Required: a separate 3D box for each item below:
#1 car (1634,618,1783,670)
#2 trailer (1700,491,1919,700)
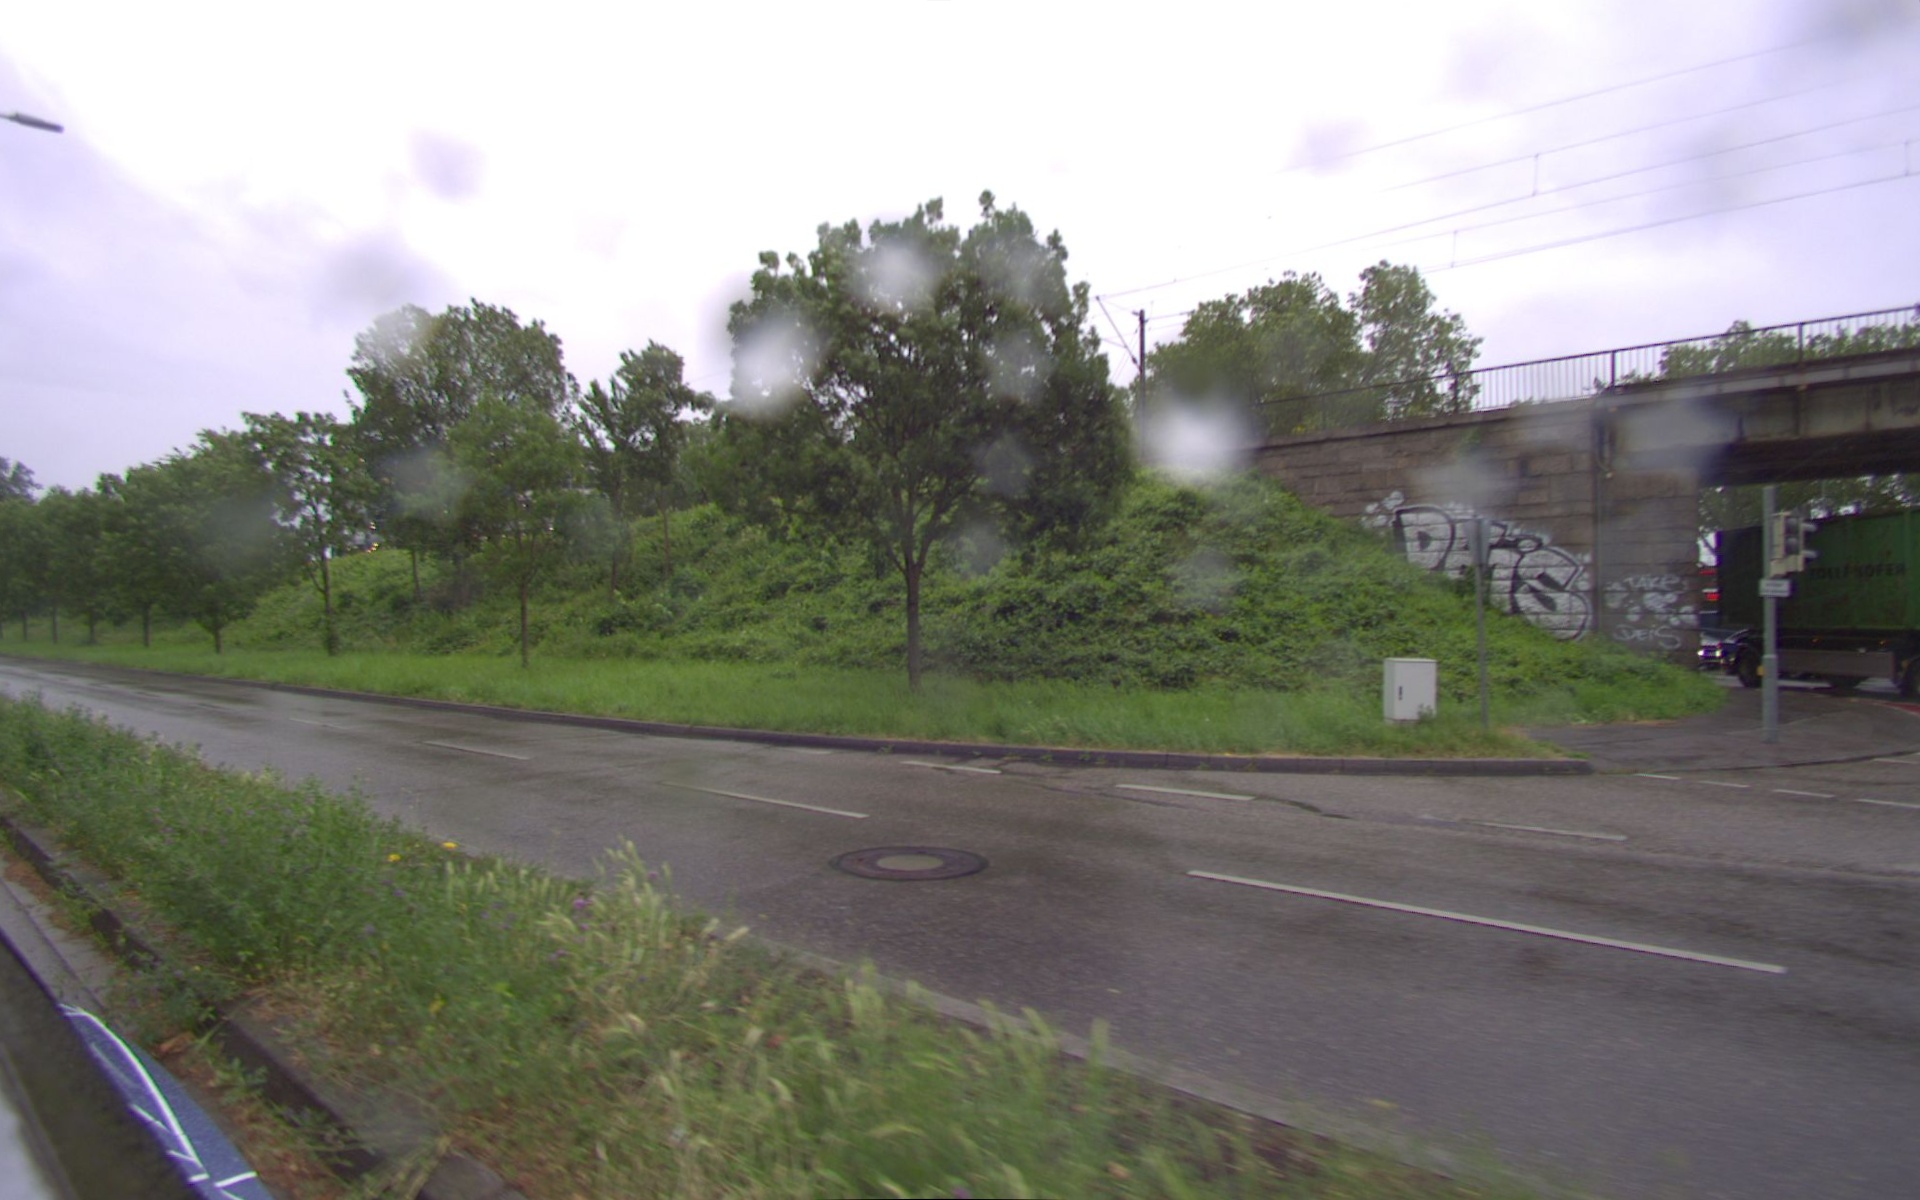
[{"bbox_3d":[24.217,1.423,32.949,1.974,1.586,3.996,0,-2,3],"label":"car"},{"bbox_3d":[20.010,-0.036,21.594,2.655,4.017,8.508,0,-1,4],"label":"trailer"}]
